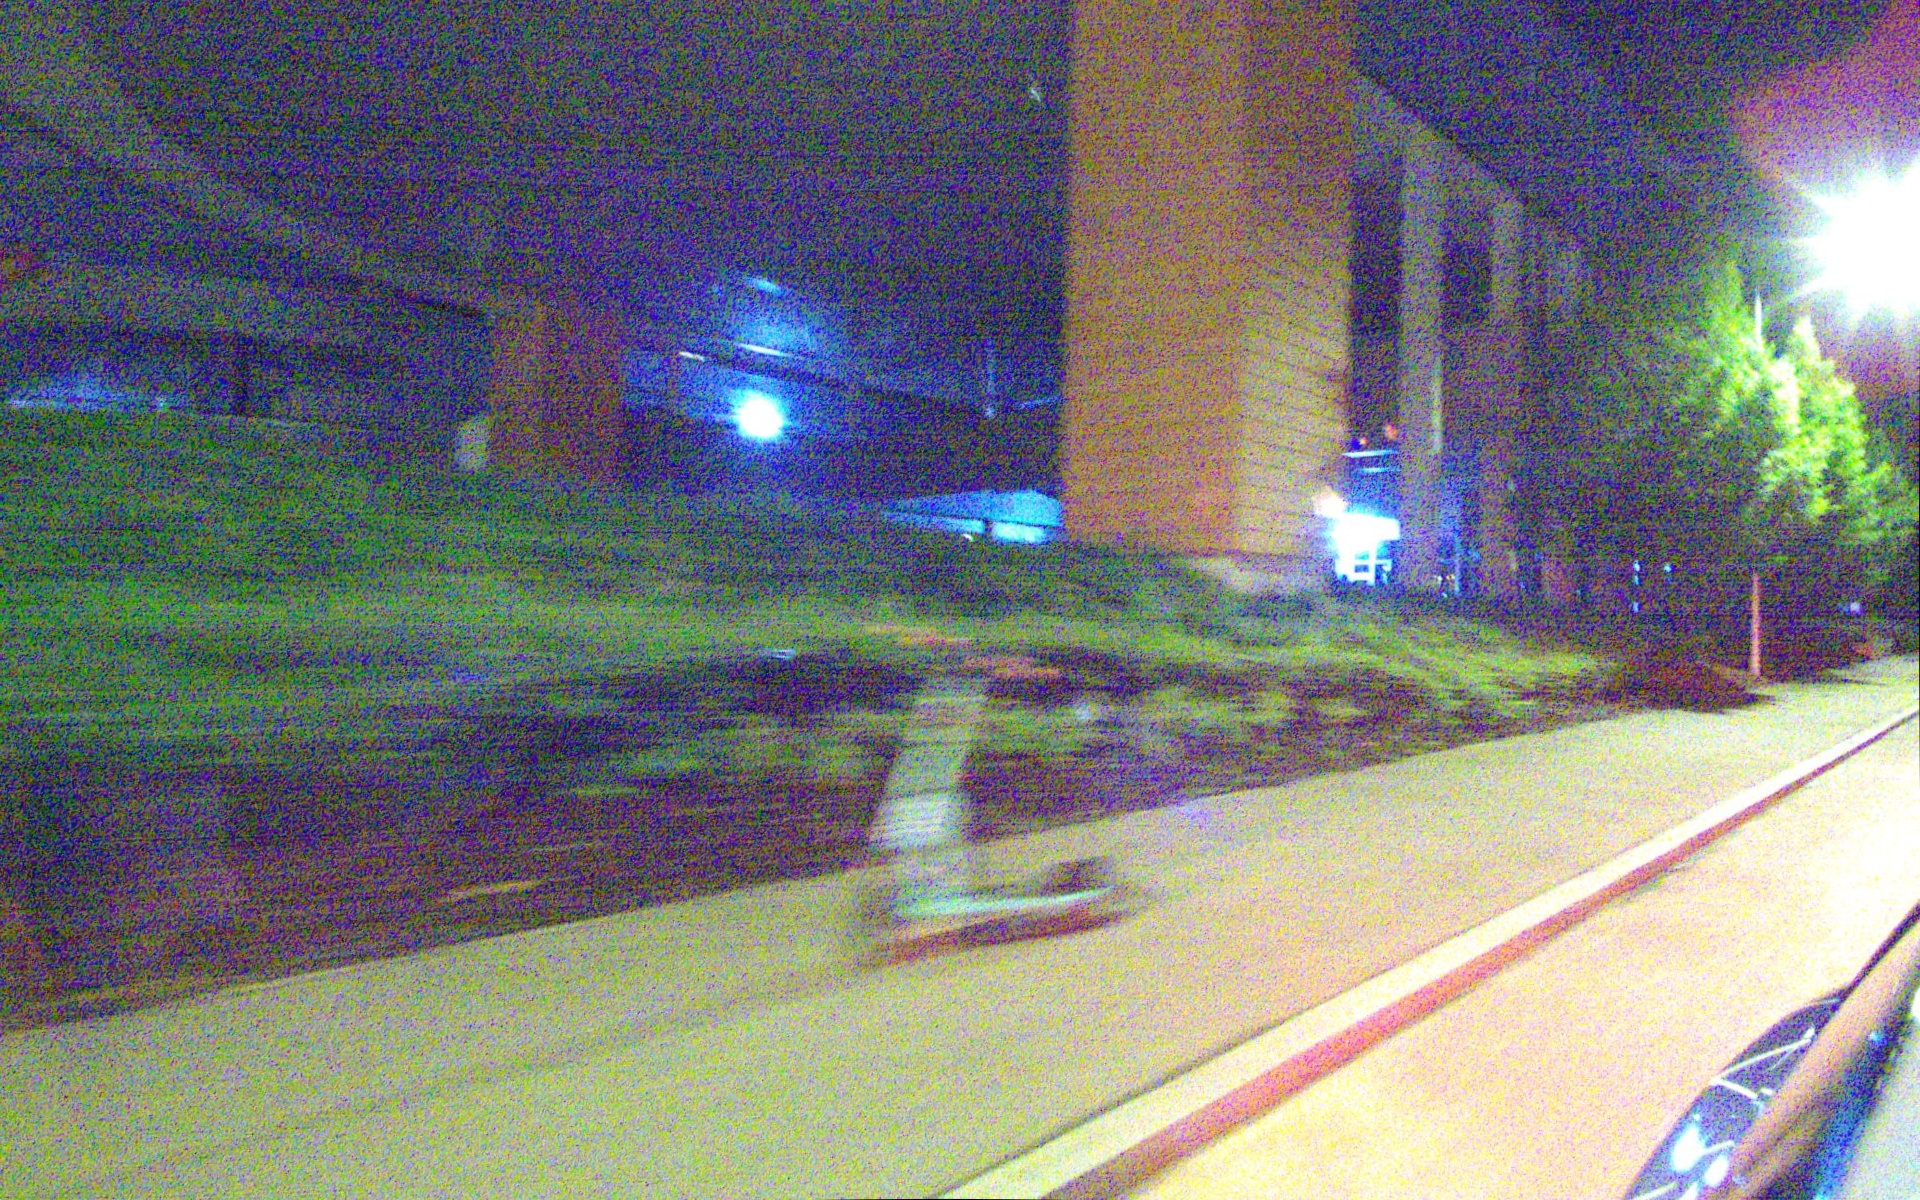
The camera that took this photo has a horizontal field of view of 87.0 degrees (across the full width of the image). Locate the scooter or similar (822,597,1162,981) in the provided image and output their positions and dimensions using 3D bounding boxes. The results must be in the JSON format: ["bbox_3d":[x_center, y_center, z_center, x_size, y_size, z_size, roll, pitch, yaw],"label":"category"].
[{"bbox_3d":[0.159,0.644,4.019,1.296,1.277,0.495,1,3,-39],"label":"scooter or similar"}]
